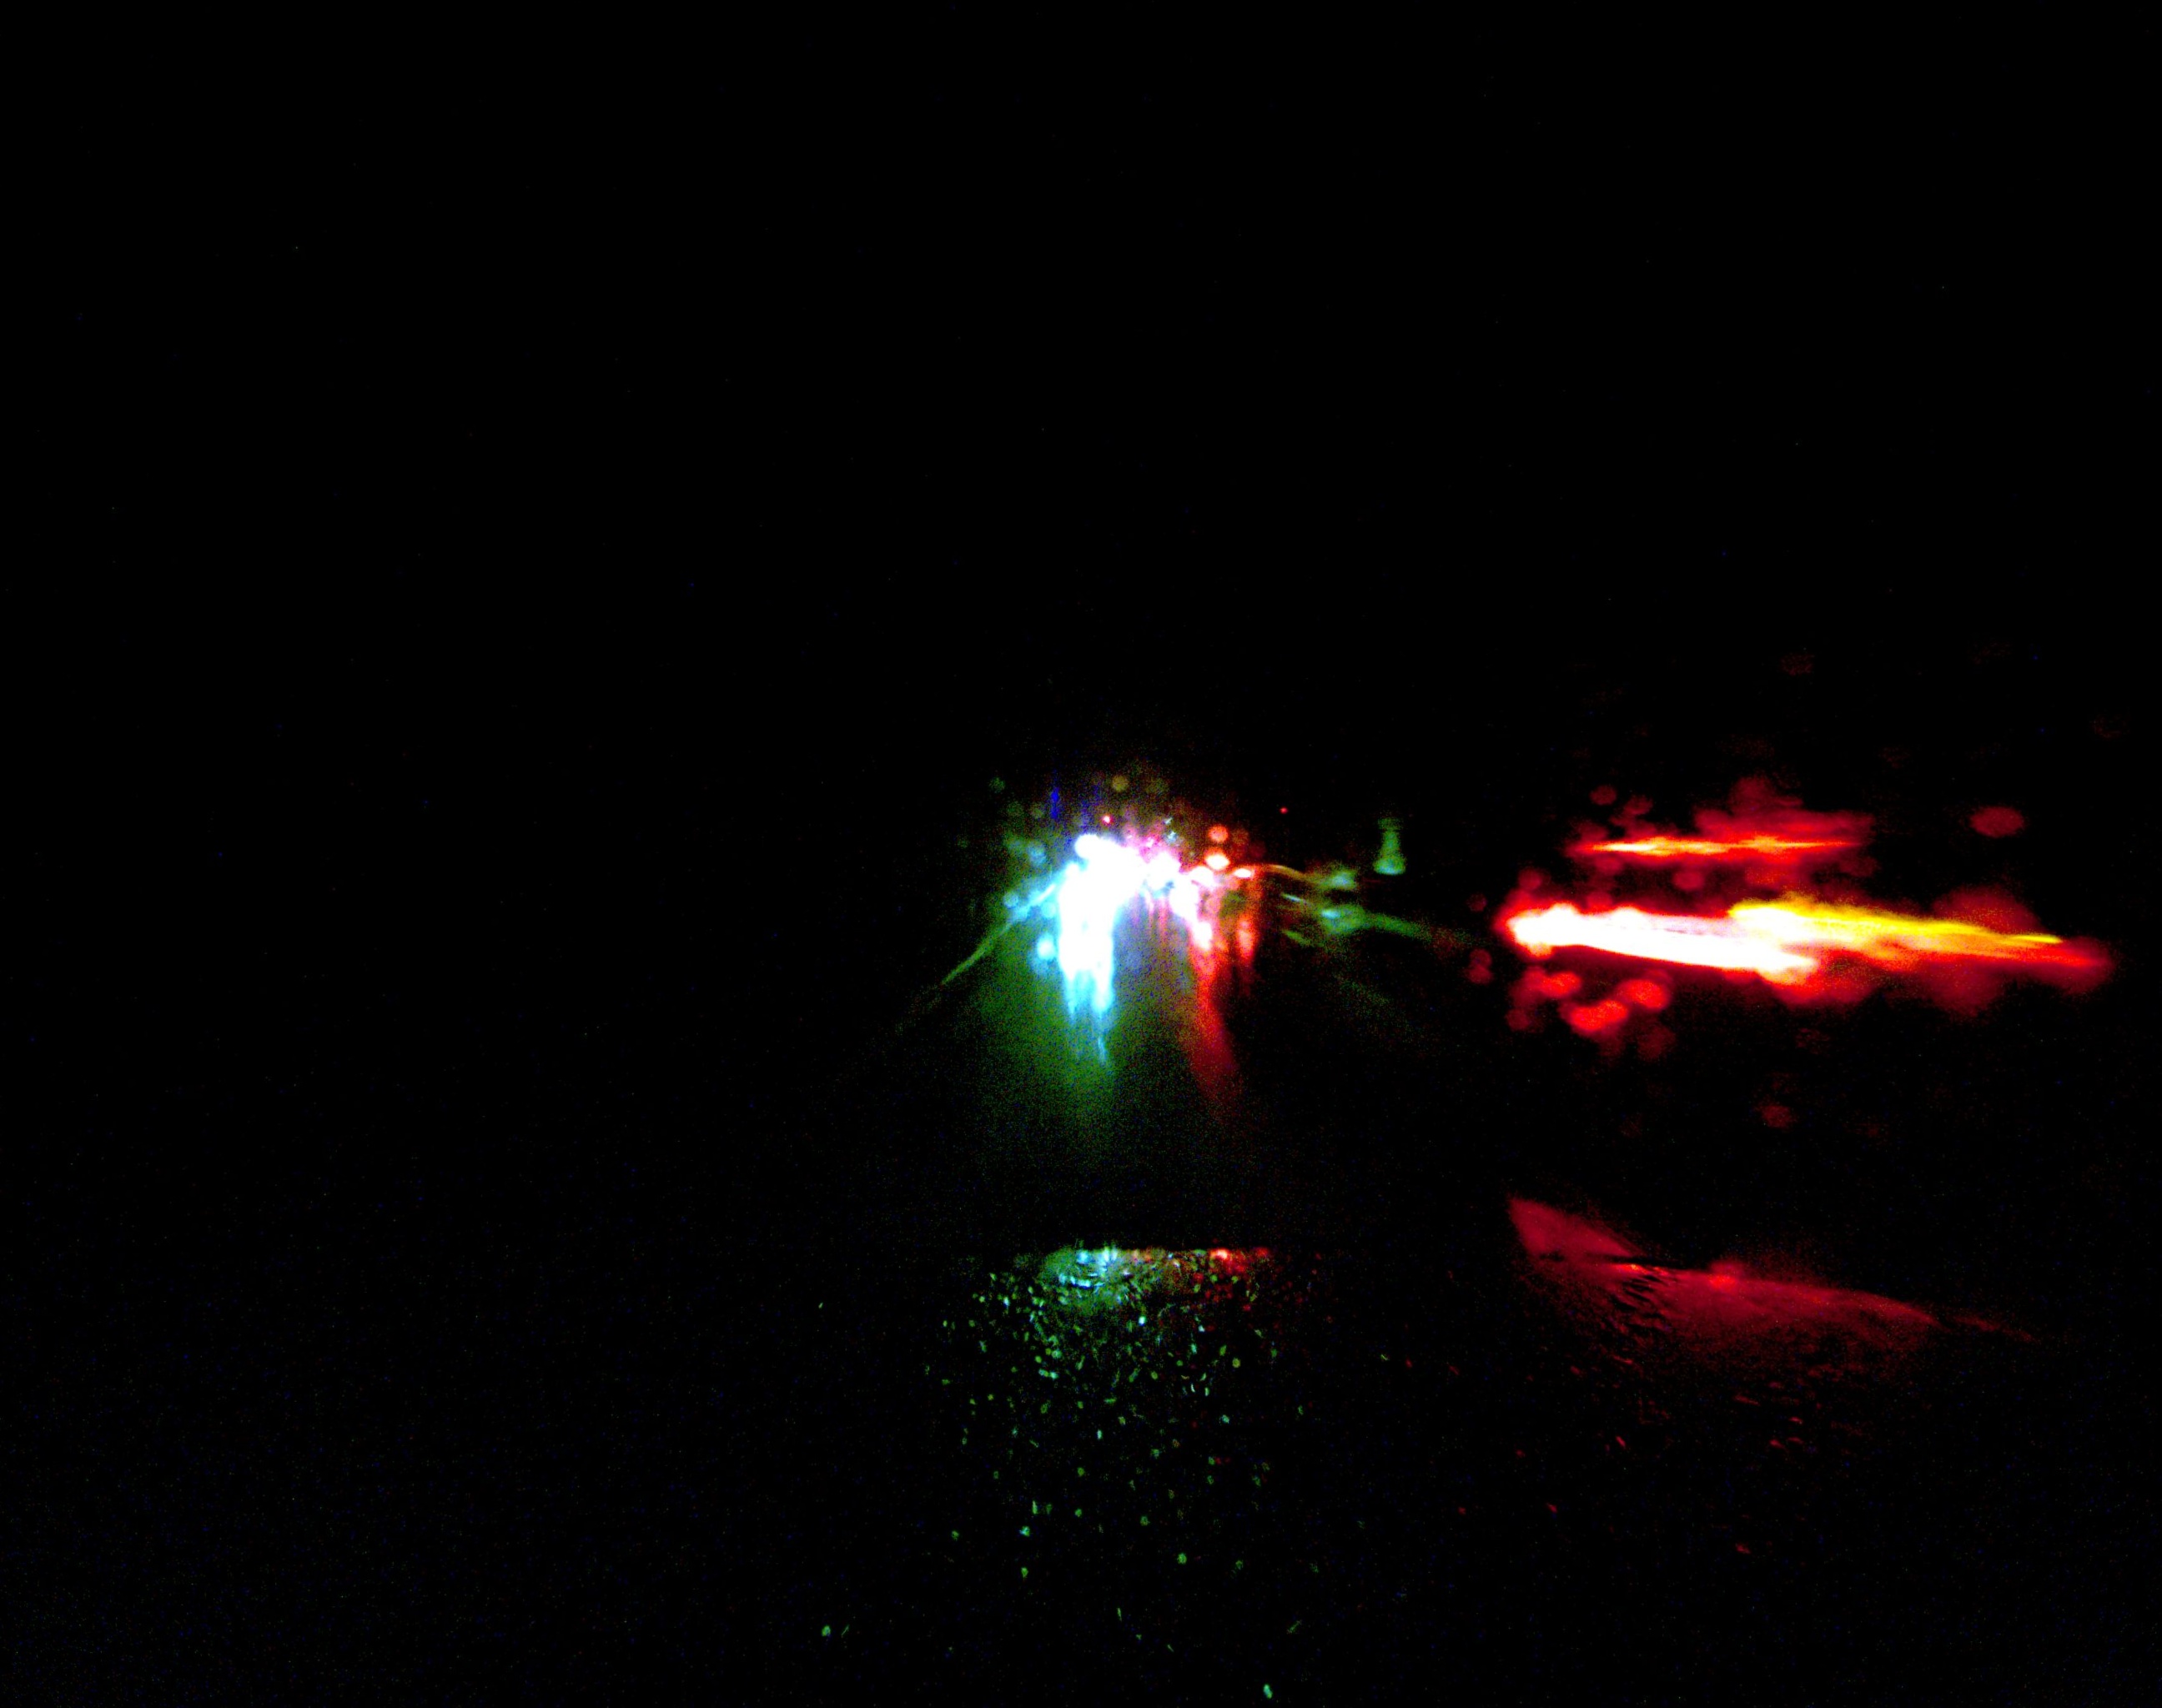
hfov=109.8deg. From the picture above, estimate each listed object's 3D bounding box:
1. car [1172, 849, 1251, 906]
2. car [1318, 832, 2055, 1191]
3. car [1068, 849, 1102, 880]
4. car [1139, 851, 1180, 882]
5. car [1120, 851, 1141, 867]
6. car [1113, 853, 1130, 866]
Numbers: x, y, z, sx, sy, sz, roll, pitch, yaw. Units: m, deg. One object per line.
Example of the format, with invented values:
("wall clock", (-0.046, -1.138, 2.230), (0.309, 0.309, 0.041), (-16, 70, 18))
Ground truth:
("car", (4.129, 0.684, 24.696), (1.790, 1.623, 4.425), (-2, 1, 1))
("car", (3.551, 0.709, 5.926), (1.951, 1.629, 4.821), (-1, 1, 1))
("car", (0.265, 0.616, 47.693), (1.998, 1.805, 4.000), (-2, 1, 1))
("car", (4.096, 0.607, 39.980), (1.790, 1.459, 3.776), (-2, 1, 1))
("car", (4.743, 0.456, 73.066), (1.790, 1.380, 3.776), (-2, 1, 1))
("car", (4.763, 0.607, 88.774), (1.790, 1.380, 3.776), (-2, 1, 1))
